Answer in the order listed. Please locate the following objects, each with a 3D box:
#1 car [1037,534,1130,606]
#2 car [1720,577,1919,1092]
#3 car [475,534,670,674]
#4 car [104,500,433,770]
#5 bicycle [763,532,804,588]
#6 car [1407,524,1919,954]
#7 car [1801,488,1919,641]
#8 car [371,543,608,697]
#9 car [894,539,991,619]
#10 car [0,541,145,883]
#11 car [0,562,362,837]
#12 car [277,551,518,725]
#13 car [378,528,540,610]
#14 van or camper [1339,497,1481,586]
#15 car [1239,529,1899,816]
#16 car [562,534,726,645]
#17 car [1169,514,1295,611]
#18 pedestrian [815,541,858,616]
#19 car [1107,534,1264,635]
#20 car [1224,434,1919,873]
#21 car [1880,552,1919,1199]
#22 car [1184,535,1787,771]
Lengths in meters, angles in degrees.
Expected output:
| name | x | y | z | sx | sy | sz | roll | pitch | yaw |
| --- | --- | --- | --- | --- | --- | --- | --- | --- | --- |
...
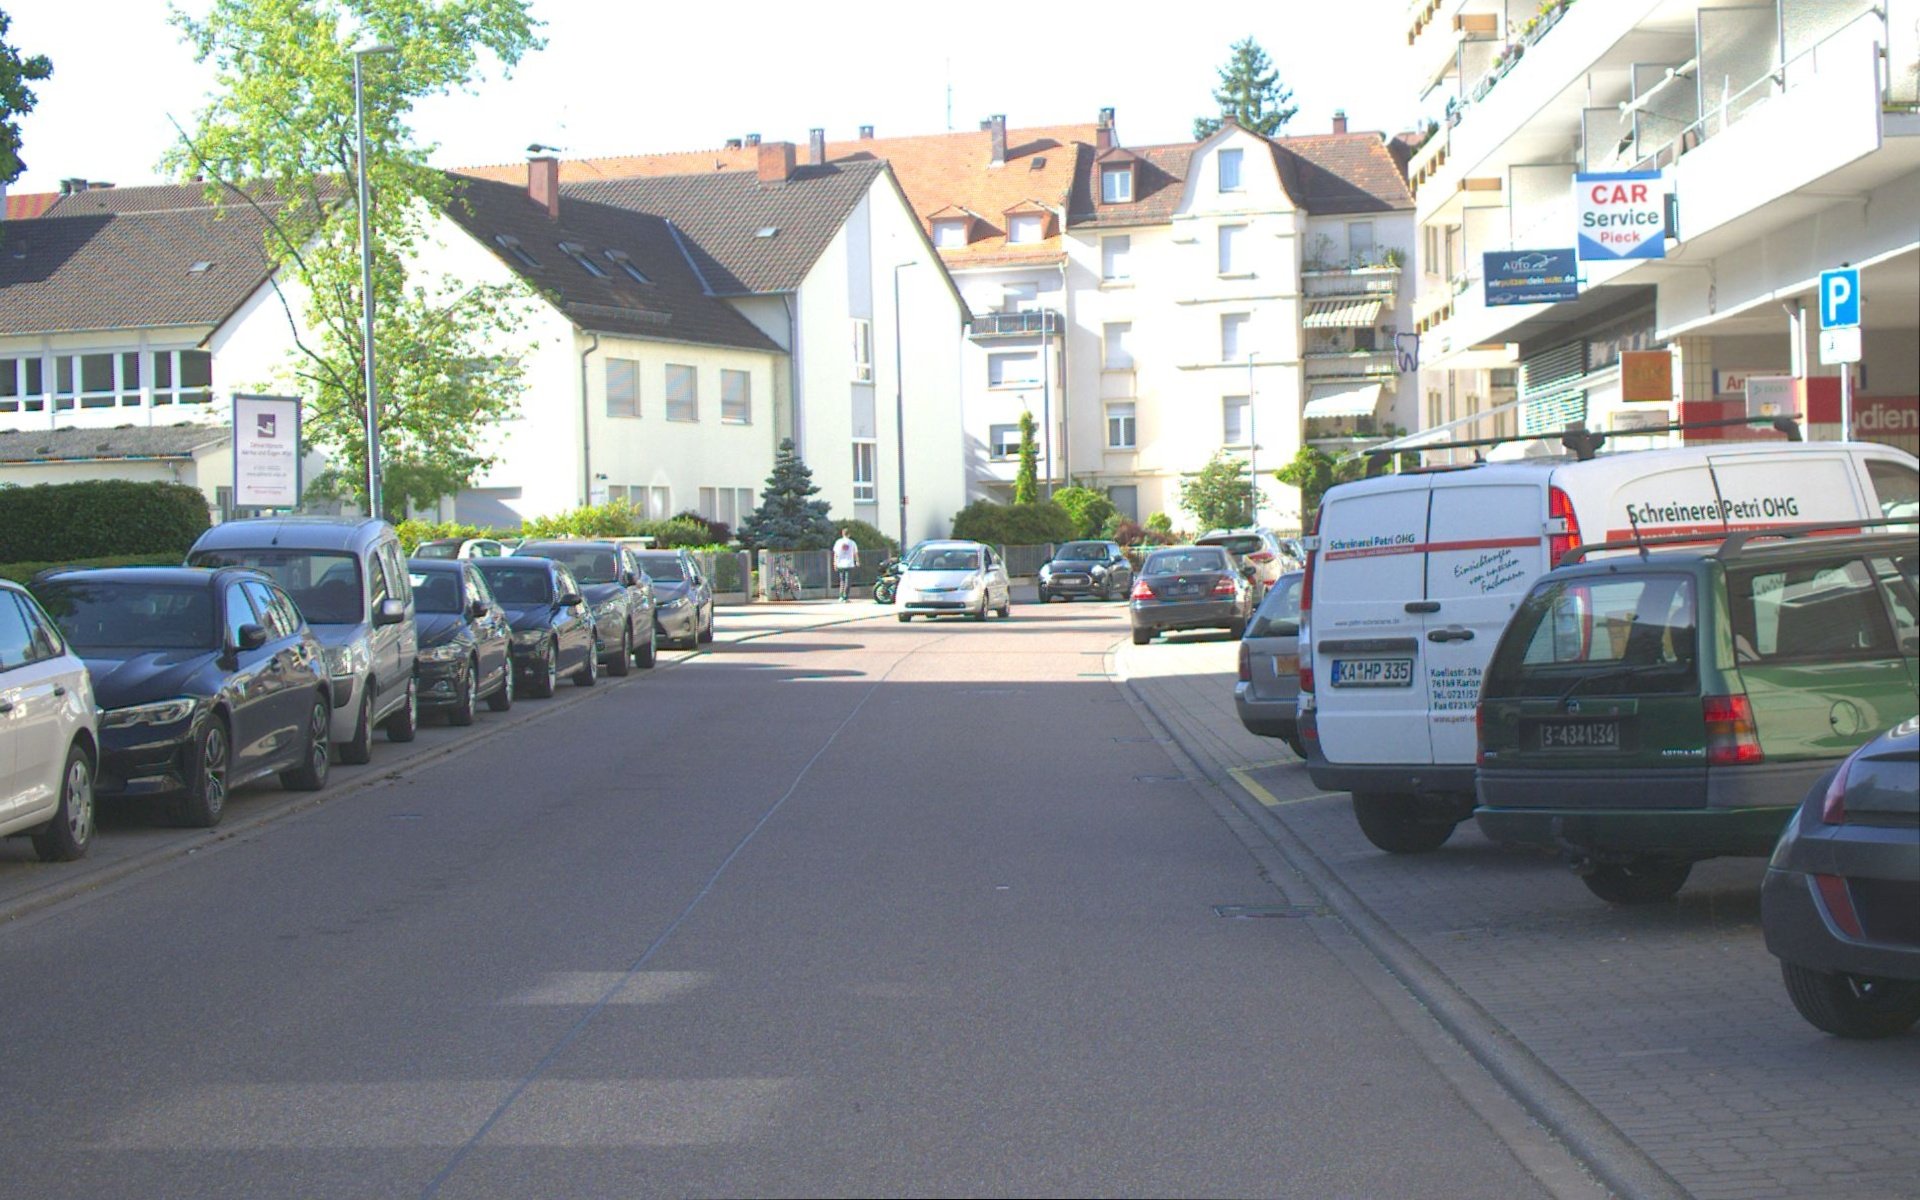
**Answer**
| name | x | y | z | sx | sy | sz | roll | pitch | yaw |
| --- | --- | --- | --- | --- | --- | --- | --- | --- | --- |
| car | 2.980 | -0.700 | 82.259 | 1.741 | 1.507 | 3.728 | -3 | -2 | 9 |
| car | 3.980 | 0.605 | 10.302 | 3.387 | 1.383 | 1.539 | -2 | 1 | -39 |
| car | -4.691 | 0.005 | 42.173 | 1.720 | 1.581 | 4.421 | -1 | 1 | 2 |
| car | -5.102 | 0.194 | 25.888 | 1.687 | 1.832 | 4.342 | -1 | 1 | -2 |
| bicycle | -4.171 | -0.941 | 81.428 | 0.456 | 1.246 | 1.927 | -1 | -1 | 13 |
| car | 3.962 | 0.434 | 14.070 | 3.984 | 1.484 | 1.616 | -4 | 0 | -31 |
| car | 11.180 | -0.436 | 35.653 | 4.391 | 1.507 | 1.979 | -2 | 0 | 1 |
| car | -4.886 | 0.163 | 36.233 | 1.726 | 1.460 | 4.439 | -1 | 1 | 2 |
| car | -0.320 | -0.443 | 67.553 | 1.726 | 1.480 | 4.106 | -1 | 1 | 2 |
| car | -5.256 | 0.513 | 15.934 | 1.908 | 1.525 | 4.625 | -1 | 0 | -1 |
| car | -4.981 | 0.517 | 20.802 | 1.732 | 1.434 | 4.611 | -1 | 1 | 2 |
| car | -4.969 | 0.289 | 30.807 | 1.598 | 1.435 | 4.000 | -1 | 1 | -2 |
| car | -10.120 | -0.606 | 69.584 | 1.802 | 1.550 | 3.184 | -2 | -1 | 24 |
| van or camper | 10.774 | -1.428 | 82.037 | 2.023 | 1.940 | 4.697 | -3 | 1 | 23 |
| car | 3.830 | 0.391 | 21.152 | 4.316 | 1.507 | 1.755 | -3 | 0 | -44 |
| car | -4.723 | -0.198 | 51.959 | 1.993 | 1.529 | 4.918 | -1 | 1 | 0 |
| car | 5.116 | -0.665 | 64.194 | 1.818 | 1.648 | 4.557 | -1 | -1 | 11 |
| pedestrian | -2.841 | -0.483 | 79.185 | 0.683 | 1.698 | 0.823 | -2 | -1 | 22 |
| car | 3.527 | -0.250 | 52.851 | 1.971 | 1.445 | 5.001 | -1 | 0 | 9 |
| car | 3.738 | 0.200 | 17.503 | 4.517 | 1.891 | 2.049 | -4 | 0 | -40 |
| car | 4.028 | 0.581 | 6.960 | 4.158 | 1.492 | 1.823 | -2 | -1 | -33 |
| car | 3.876 | 0.346 | 24.835 | 4.634 | 1.461 | 1.690 | -3 | 0 | -42 |
